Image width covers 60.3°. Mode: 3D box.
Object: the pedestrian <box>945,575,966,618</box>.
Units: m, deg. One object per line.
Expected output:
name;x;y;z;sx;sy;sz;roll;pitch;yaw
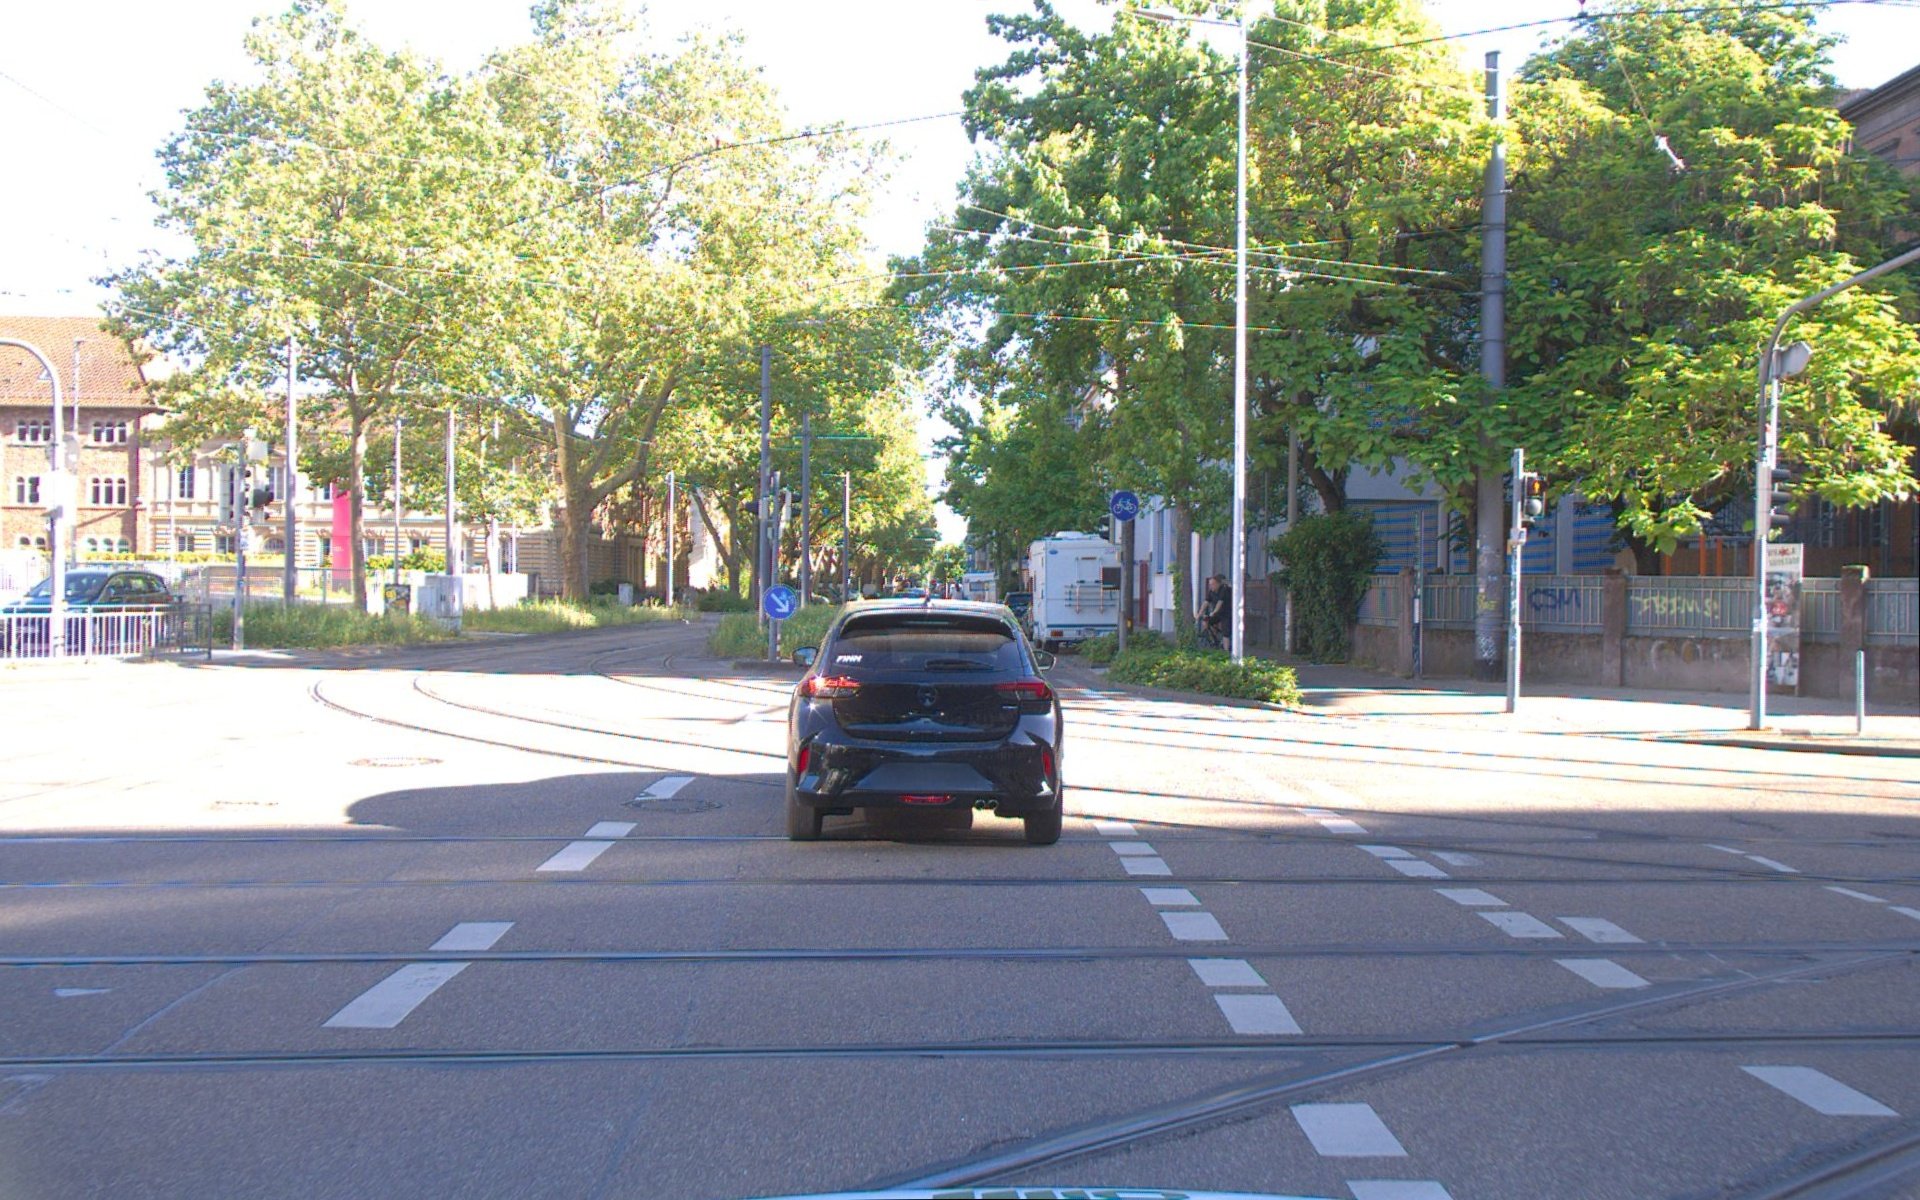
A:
pedestrian;-0.216;-0.171;80.150;1.015;2.059;1.212;0;0;-2

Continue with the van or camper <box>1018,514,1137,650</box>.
van or camper;2.976;-0.475;43.877;2.328;3.179;7.549;-3;1;-1

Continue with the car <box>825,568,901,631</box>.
car;-2.761;-0.030;47.834;1.953;1.656;4.469;2;0;-1

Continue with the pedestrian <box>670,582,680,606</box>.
pedestrian;-21.524;-0.444;124.847;0.605;1.763;0.596;2;0;-2

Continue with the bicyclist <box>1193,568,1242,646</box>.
bicyclist;5.171;0.139;33.215;0.691;1.536;0.745;0;0;-25

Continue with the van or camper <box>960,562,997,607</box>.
van or camper;1.300;-1.107;117.170;2.435;3.046;5.434;2;0;0

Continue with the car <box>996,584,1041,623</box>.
car;2.489;0.130;70.722;1.753;1.536;3.874;-2;1;0

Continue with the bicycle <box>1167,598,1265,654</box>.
bicycle;5.140;0.516;33.204;1.920;1.089;0.636;0;1;-26

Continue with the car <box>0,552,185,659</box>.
car;-17.650;0.061;32.987;1.951;1.981;4.427;0;1;6

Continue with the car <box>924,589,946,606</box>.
car;-2.195;-0.199;145.965;1.866;1.450;4.216;0;1;1

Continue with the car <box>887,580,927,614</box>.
car;-2.515;-0.148;78.781;1.753;1.536;3.874;-2;1;0

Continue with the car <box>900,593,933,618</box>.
car;-2.713;0.339;103.758;1.866;1.450;4.216;0;1;1

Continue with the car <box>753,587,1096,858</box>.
car;-0.175;0.652;11.154;1.866;1.450;4.216;0;1;1
